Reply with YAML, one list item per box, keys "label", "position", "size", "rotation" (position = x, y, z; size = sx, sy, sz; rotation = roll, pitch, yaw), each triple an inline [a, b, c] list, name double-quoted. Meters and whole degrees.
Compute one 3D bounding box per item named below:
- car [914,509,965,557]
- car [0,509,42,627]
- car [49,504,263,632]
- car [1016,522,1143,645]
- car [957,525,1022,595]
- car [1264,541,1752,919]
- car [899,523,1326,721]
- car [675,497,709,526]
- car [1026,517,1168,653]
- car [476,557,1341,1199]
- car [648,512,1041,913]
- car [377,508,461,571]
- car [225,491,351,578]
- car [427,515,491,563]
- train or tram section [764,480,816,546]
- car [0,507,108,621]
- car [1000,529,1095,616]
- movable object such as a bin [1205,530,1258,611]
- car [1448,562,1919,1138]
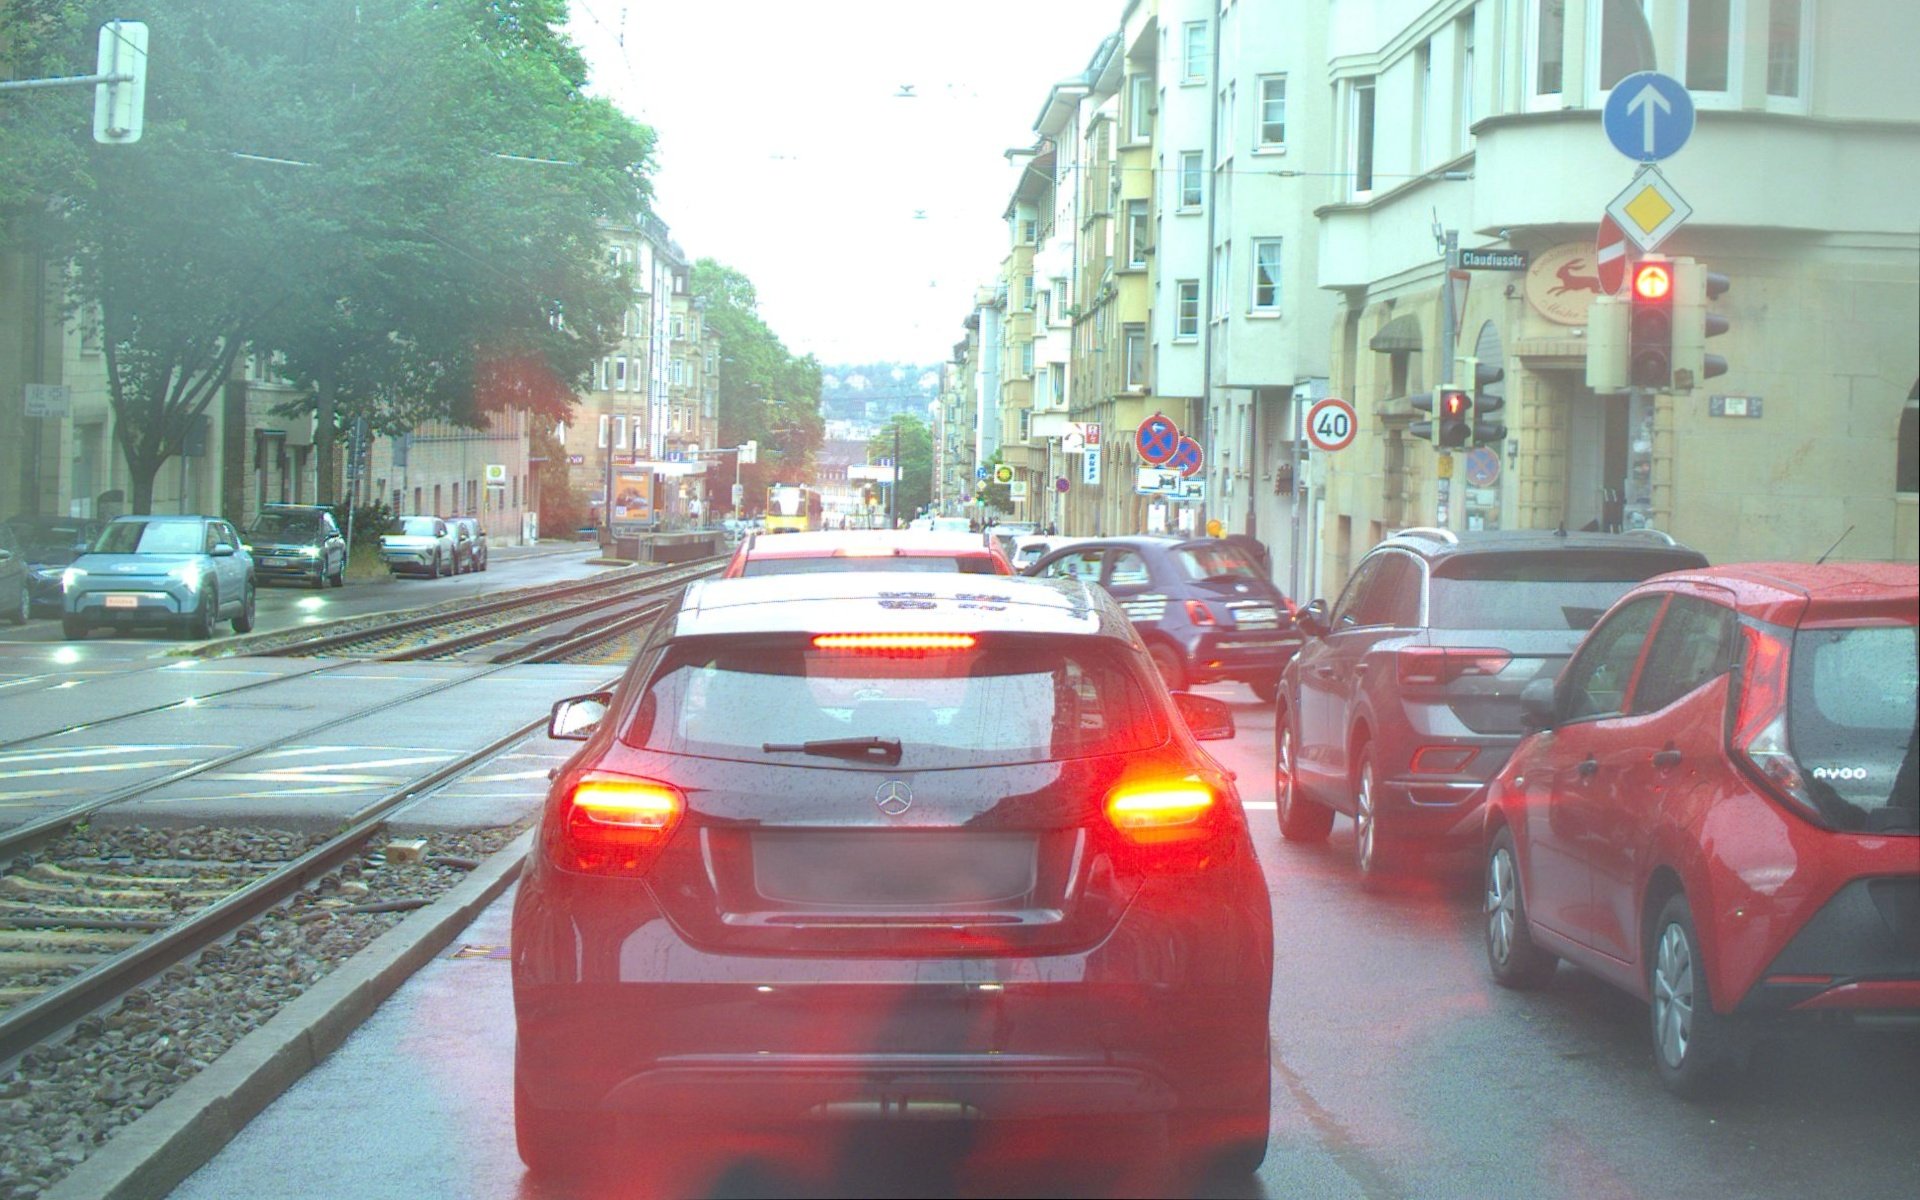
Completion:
- label: "car"
  position: [-0.823, -2.661, 137.630]
  size: [1.993, 1.870, 4.000]
  rotation: [1, 0, -1]
- label: "car"
  position: [-13.495, -0.441, 45.664]
  size: [1.752, 1.547, 4.036]
  rotation: [1, 0, -4]
- label: "car"
  position: [-10.470, -0.422, 45.050]
  size: [1.898, 1.582, 3.973]
  rotation: [1, 0, -1]
- label: "car"
  position: [1.600, -0.249, 47.087]
  size: [1.544, 1.585, 3.548]
  rotation: [1, 1, -1]
- label: "car"
  position: [0.623, -0.865, 73.566]
  size: [1.294, 1.437, 2.929]
  rotation: [1, 1, -1]
- label: "car"
  position: [2.374, 0.491, 15.735]
  size: [1.544, 1.481, 3.830]
  rotation: [1, 1, -1]
- label: "car"
  position: [1.329, 0.158, 30.912]
  size: [3.683, 1.630, 1.546]
  rotation: [2, 1, 43]
- label: "car"
  position: [-12.355, -4.077, 158.591]
  size: [1.377, 1.245, 3.298]
  rotation: [1, 0, -2]
- label: "car"
  position: [1.656, -0.211, 42.612]
  size: [1.544, 1.585, 3.548]
  rotation: [1, 1, -1]
- label: "car"
  position: [-0.138, 0.641, 9.429]
  size: [1.829, 1.453, 4.104]
  rotation: [1, 1, -1]
- label: "car"
  position: [-0.491, 0.437, 15.816]
  size: [1.565, 1.604, 3.814]
  rotation: [1, 0, -1]
- label: "car"
  position: [-14.006, -1.560, 89.136]
  size: [1.589, 1.575, 3.918]
  rotation: [1, 0, -1]
- label: "car"
  position: [-13.969, -1.340, 71.673]
  size: [1.875, 1.731, 3.918]
  rotation: [1, 0, -1]
- label: "car"
  position: [-14.350, -1.749, 98.546]
  size: [1.448, 1.326, 3.272]
  rotation: [1, 0, -2]
- label: "train or tram section"
  position: [-10.411, -5.323, 211.201]
  size: [2.783, 3.847, 10.430]
  rotation: [1, 0, -1]
- label: "car"
  position: [-13.748, -0.530, 50.695]
  size: [1.716, 1.605, 3.919]
  rotation: [1, 0, -5]
- label: "car"
  position: [1.542, -0.505, 61.497]
  size: [1.544, 1.481, 3.548]
  rotation: [1, 1, -1]
- label: "movable object such as a bin"
  position: [4.700, -0.506, 59.544]
  size: [0.878, 1.384, 0.982]
  rotation: [1, 0, 3]
- label: "car"
  position: [2.638, 0.635, 10.497]
  size: [1.642, 1.443, 3.299]
  rotation: [1, 1, -3]
